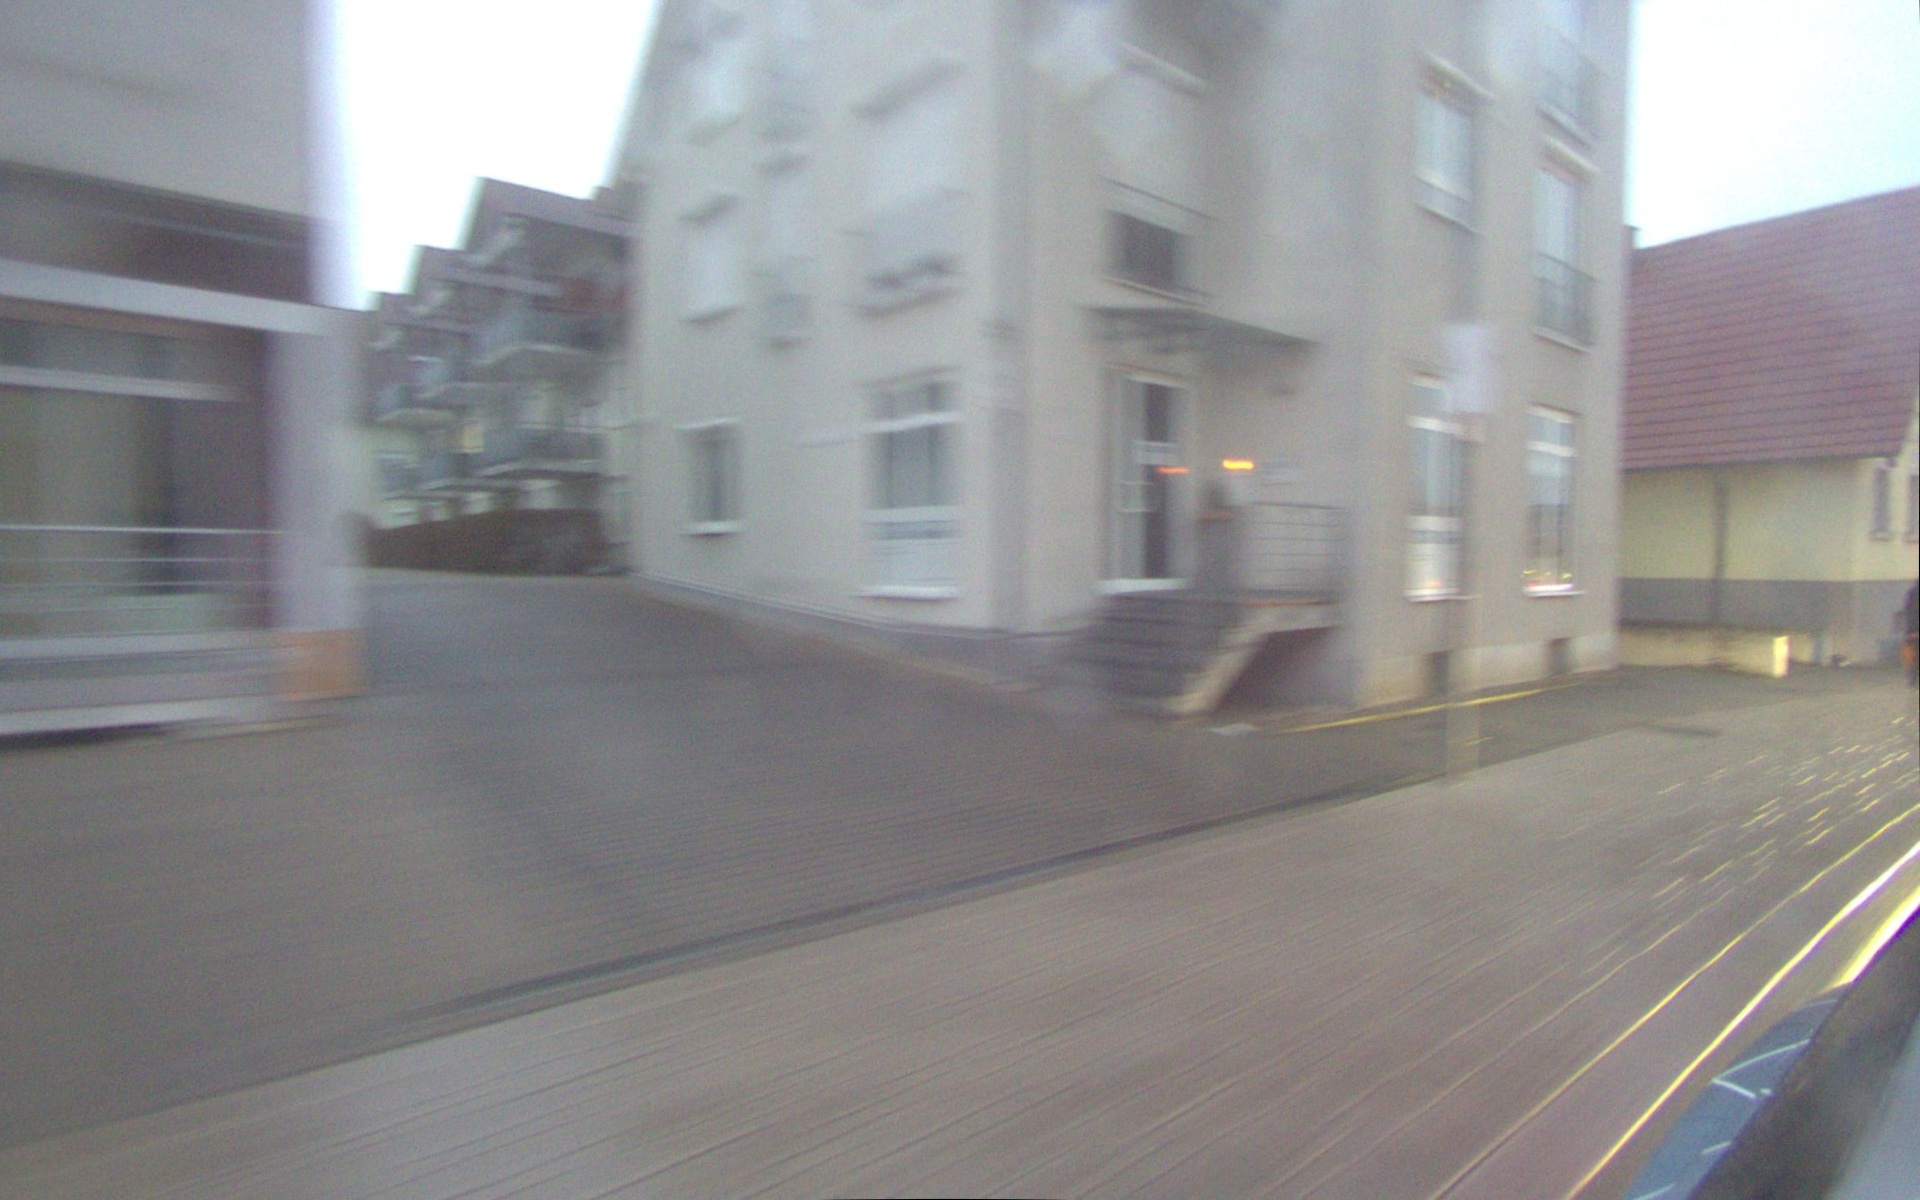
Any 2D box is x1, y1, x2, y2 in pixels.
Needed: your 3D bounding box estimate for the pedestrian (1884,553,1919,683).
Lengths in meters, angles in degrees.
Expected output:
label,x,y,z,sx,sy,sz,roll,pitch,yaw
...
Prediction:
label,x,y,z,sx,sy,sz,roll,pitch,yaw
pedestrian,13.350,0.250,13.885,0.855,1.751,0.748,1,1,-32
